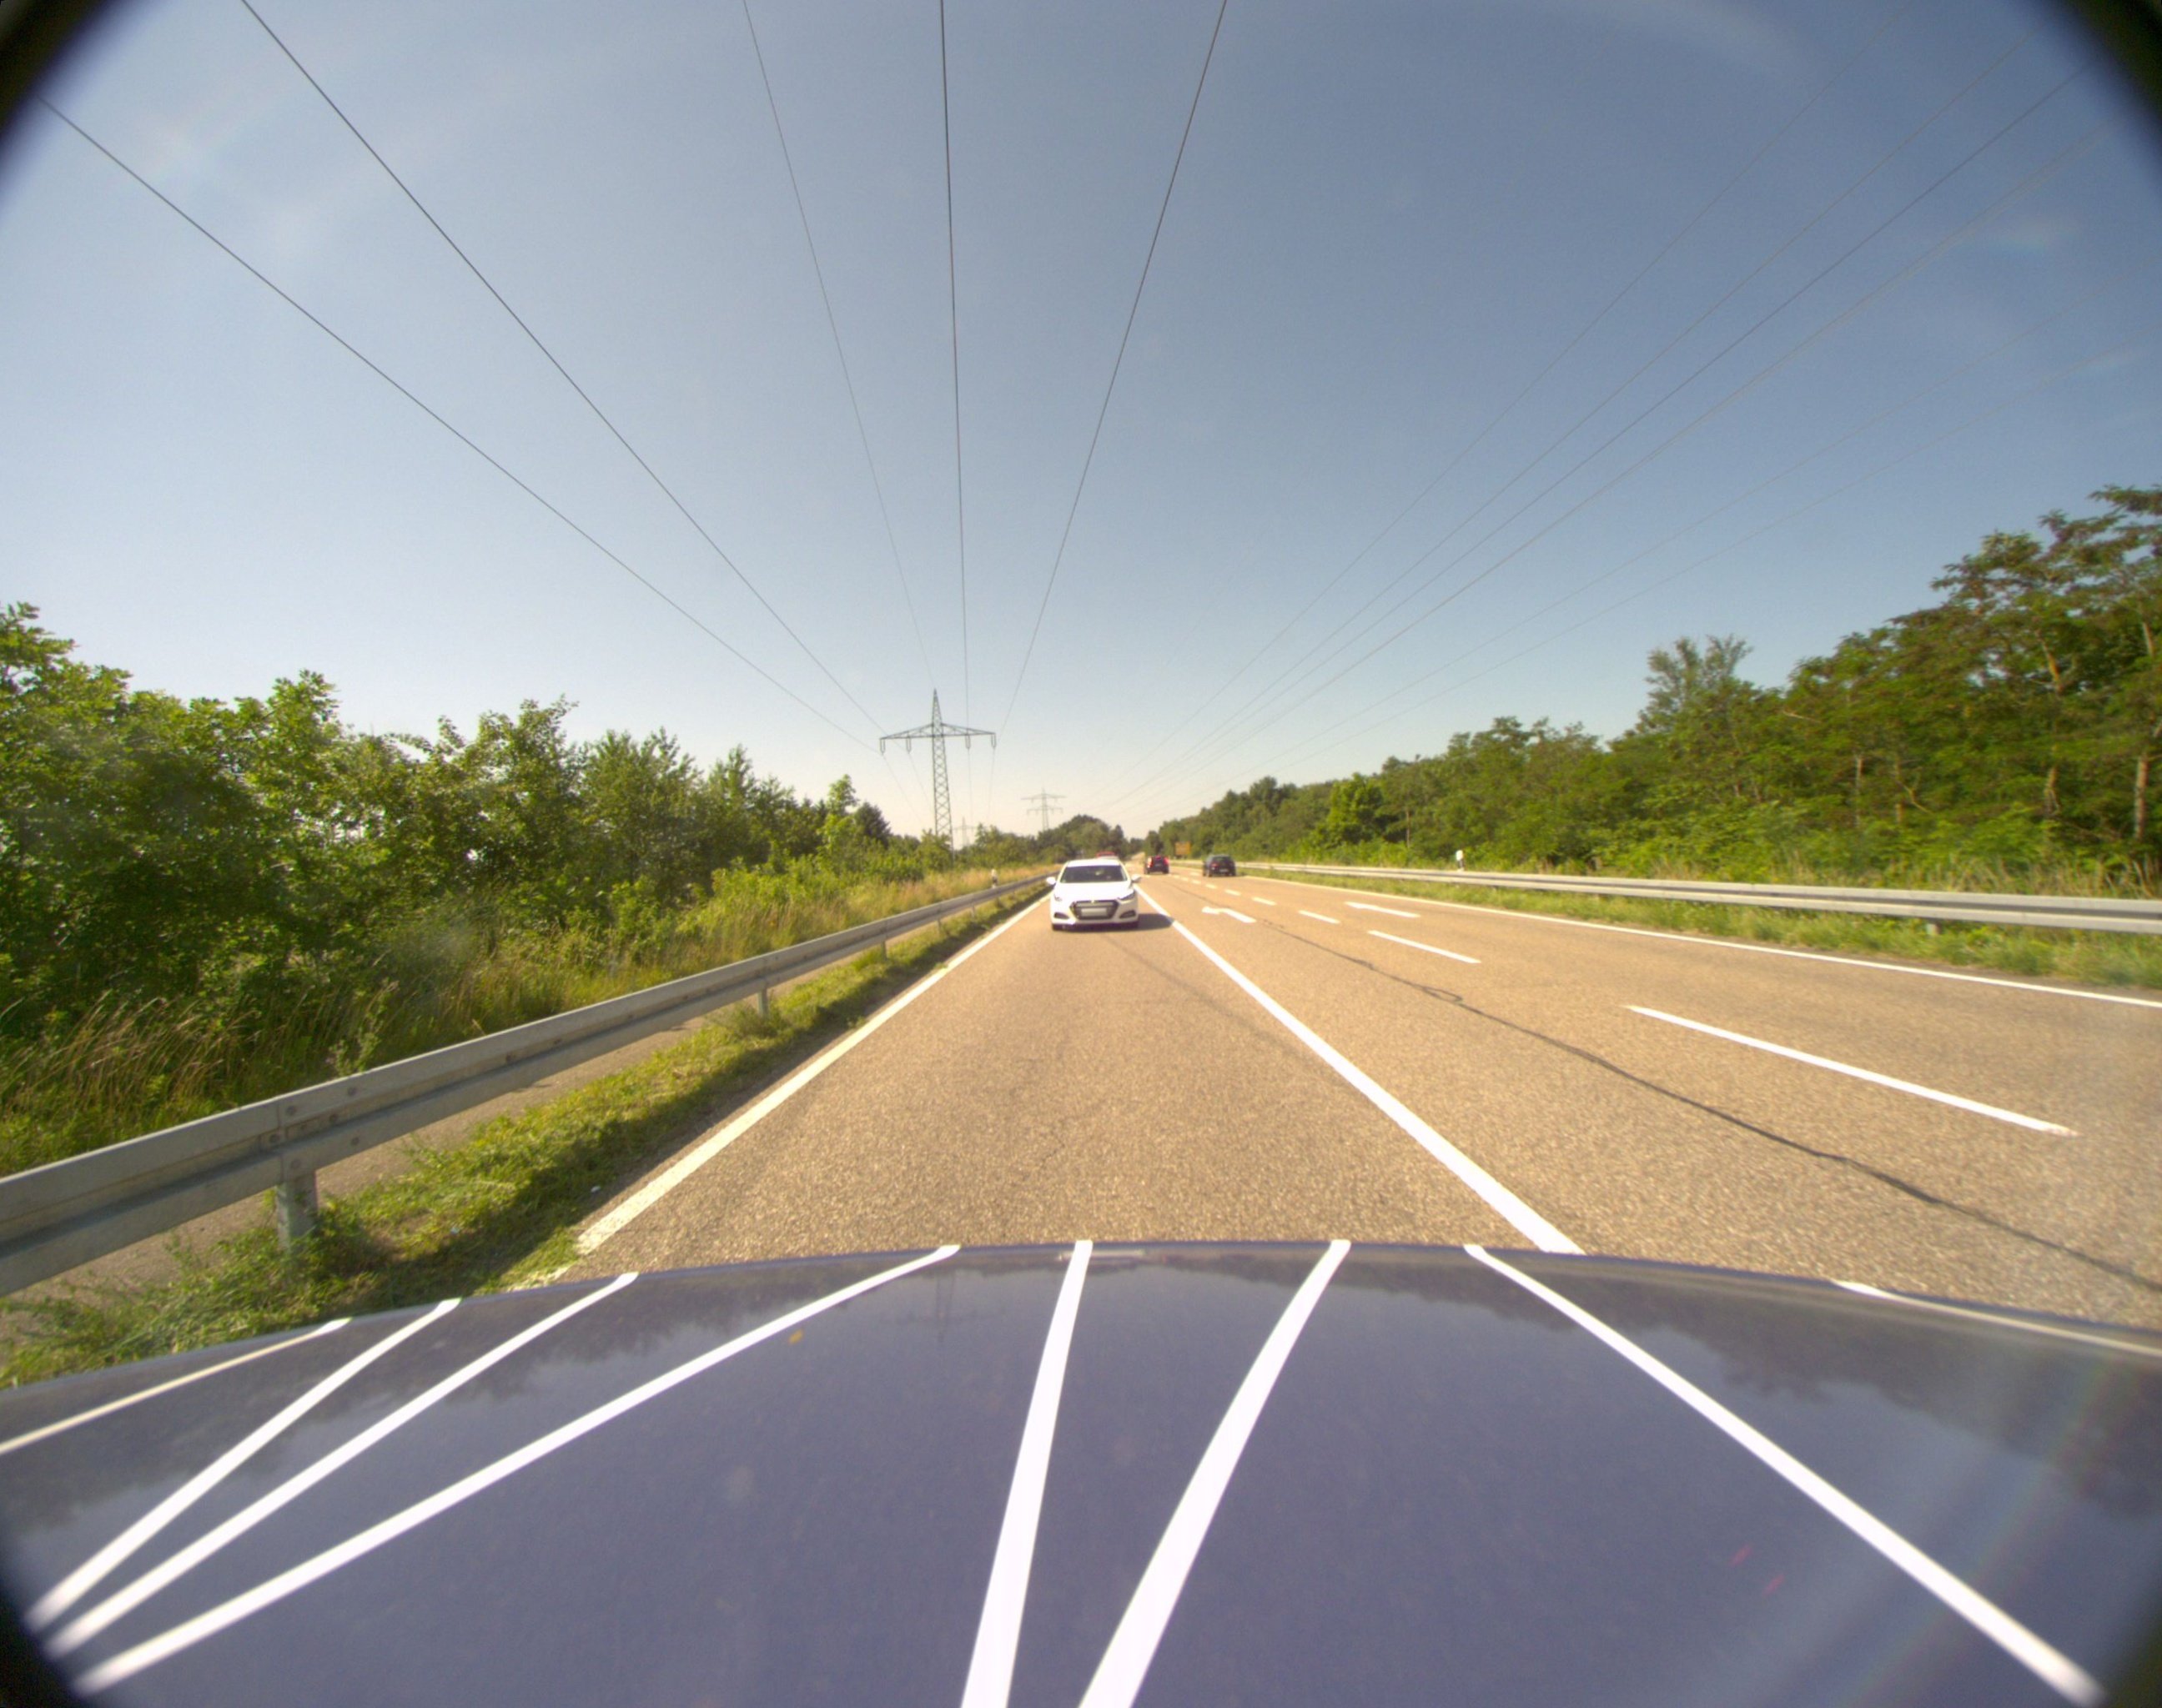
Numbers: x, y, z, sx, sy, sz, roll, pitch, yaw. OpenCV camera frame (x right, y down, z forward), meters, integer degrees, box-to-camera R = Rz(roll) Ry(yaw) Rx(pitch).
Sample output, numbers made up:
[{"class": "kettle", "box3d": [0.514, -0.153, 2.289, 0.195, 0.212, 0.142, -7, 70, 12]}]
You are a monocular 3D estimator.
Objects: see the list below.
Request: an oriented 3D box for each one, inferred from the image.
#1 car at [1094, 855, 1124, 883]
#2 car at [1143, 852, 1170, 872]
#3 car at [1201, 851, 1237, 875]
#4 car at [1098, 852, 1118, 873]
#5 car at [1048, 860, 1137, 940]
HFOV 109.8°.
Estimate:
[{"class": "car", "box3d": [1.546, 0.811, 43.120, 1.549, 1.460, 3.661, -2, 0, 1]}, {"class": "car", "box3d": [6.173, 0.626, 62.549, 1.731, 1.482, 4.422, -2, 0, 0]}, {"class": "car", "box3d": [8.923, 0.551, 49.391, 1.663, 1.433, 4.214, -2, 0, 1]}, {"class": "car", "box3d": [2.631, 0.802, 74.998, 1.794, 1.892, 4.838, -2, 0, 1]}, {"class": "car", "box3d": [0.277, 0.899, 16.842, 1.683, 1.471, 4.473, -1, 0, 1]}]
